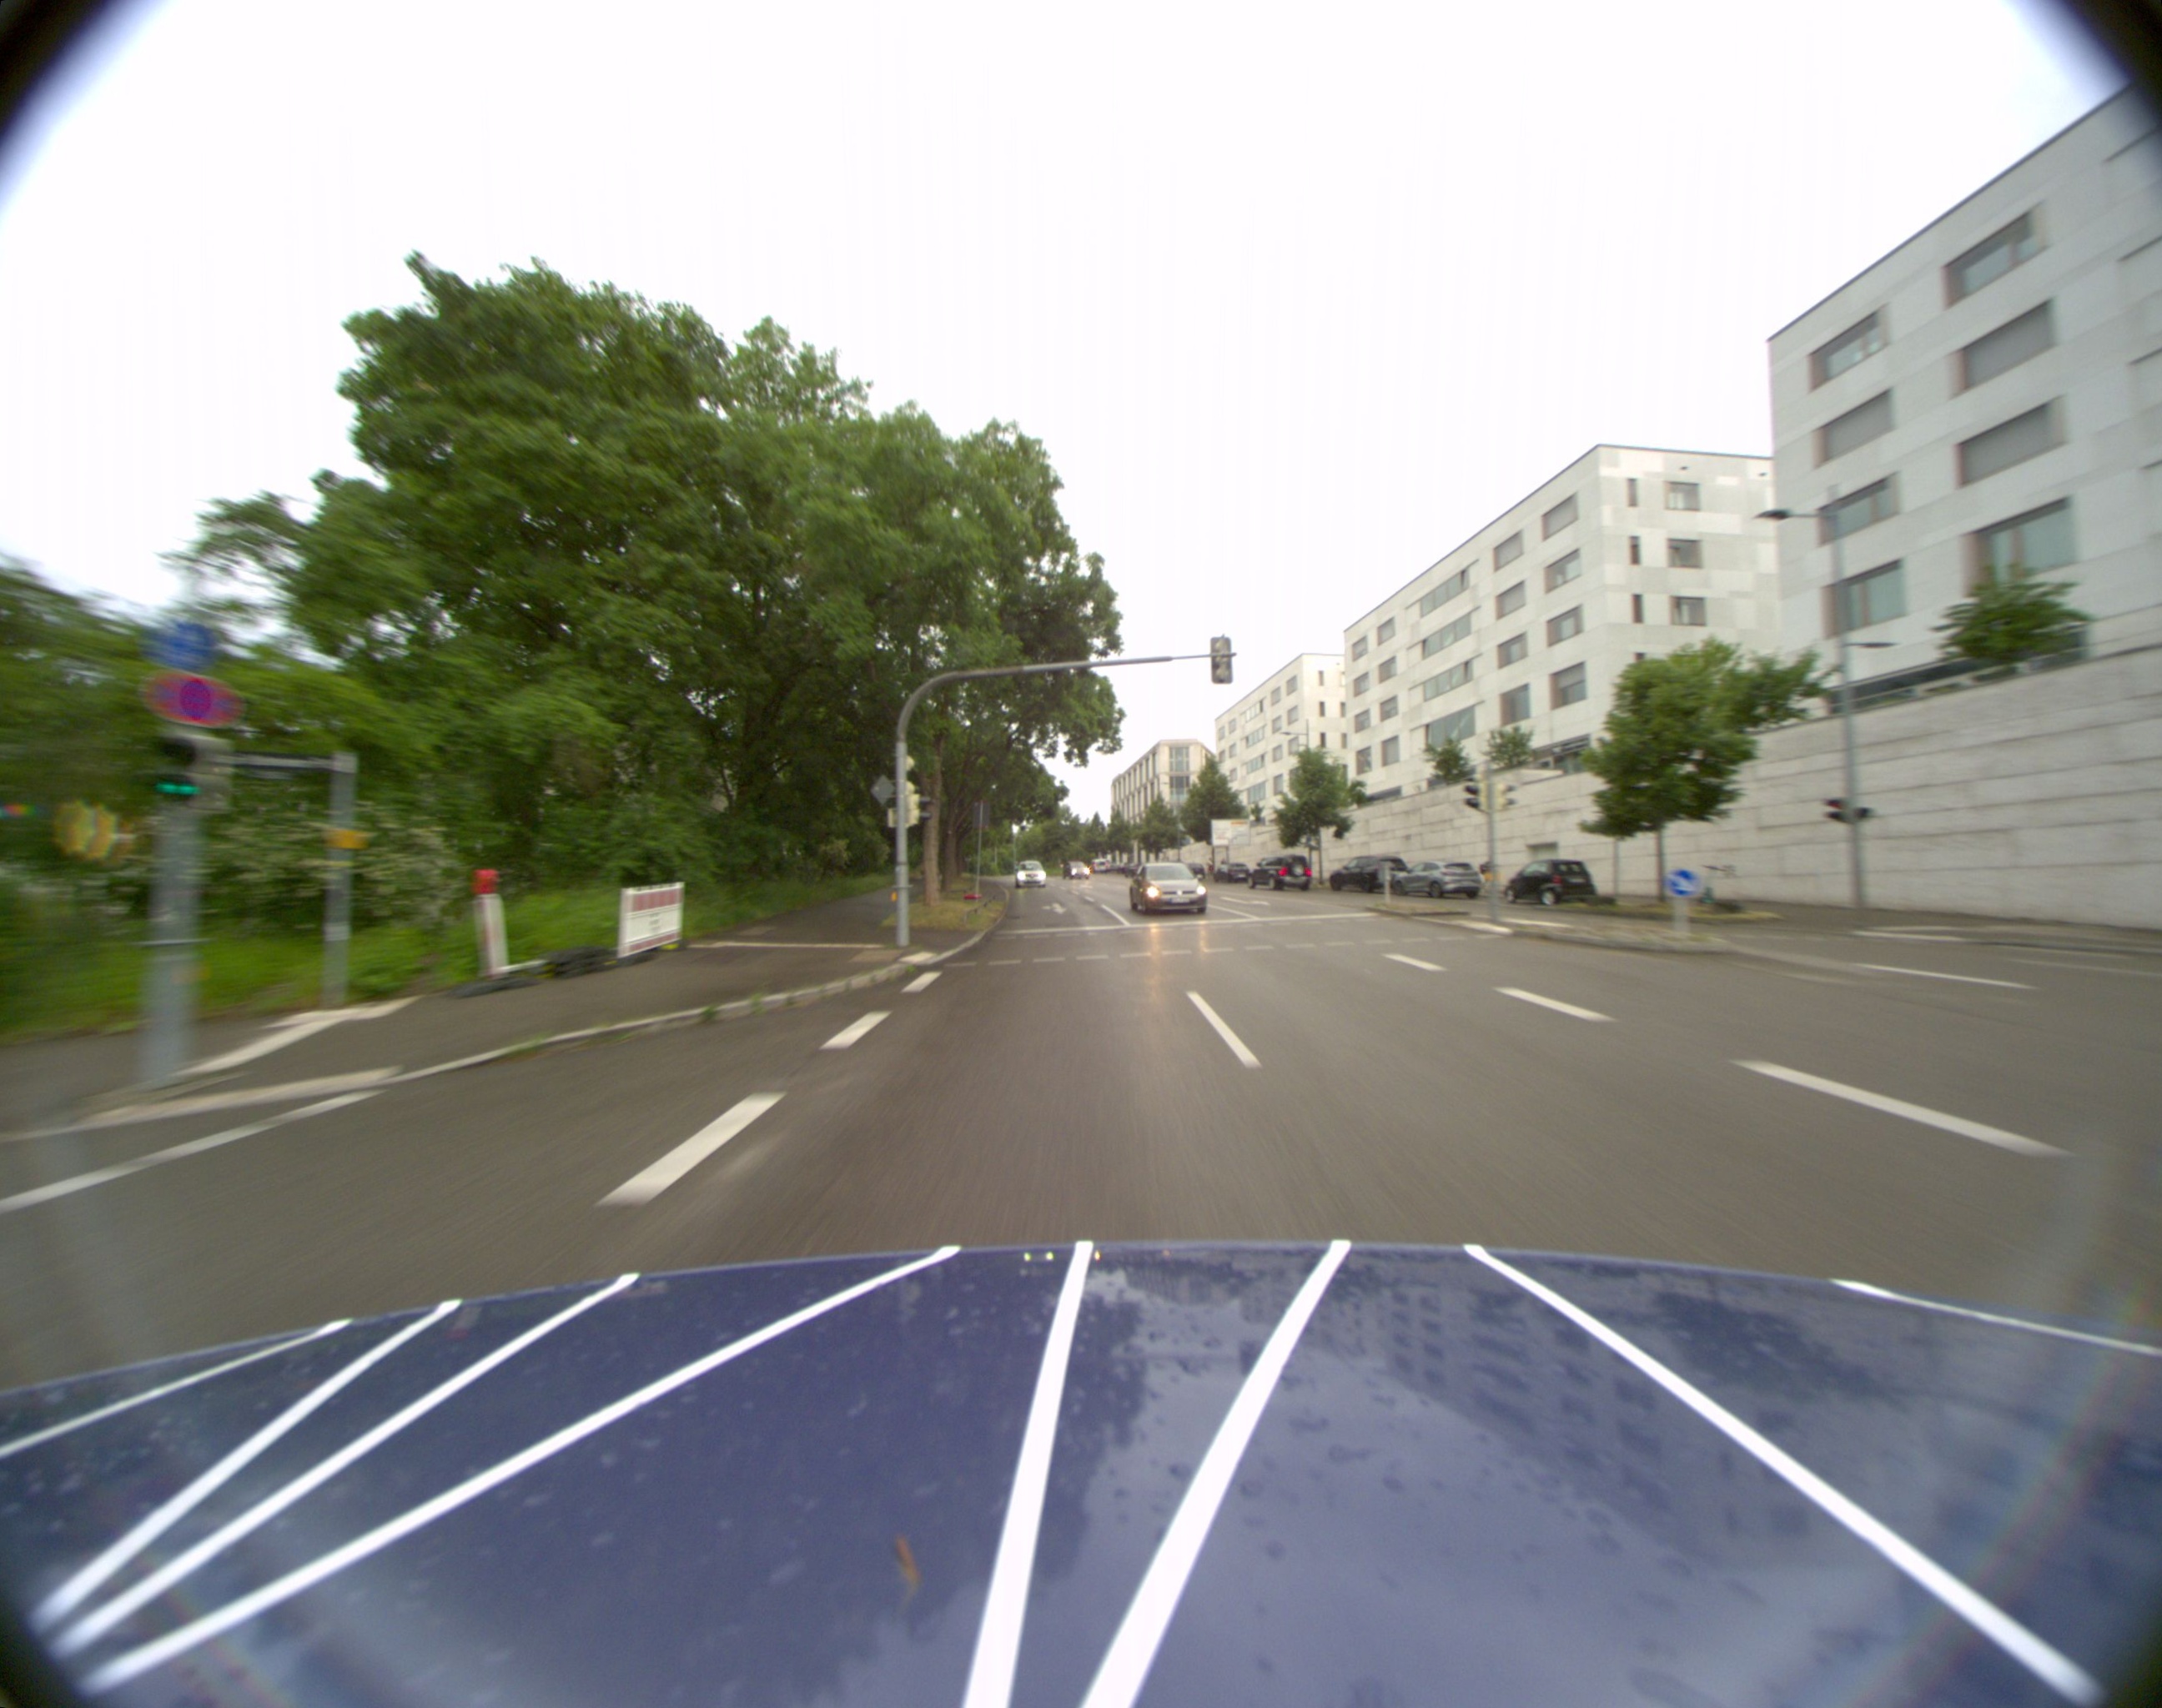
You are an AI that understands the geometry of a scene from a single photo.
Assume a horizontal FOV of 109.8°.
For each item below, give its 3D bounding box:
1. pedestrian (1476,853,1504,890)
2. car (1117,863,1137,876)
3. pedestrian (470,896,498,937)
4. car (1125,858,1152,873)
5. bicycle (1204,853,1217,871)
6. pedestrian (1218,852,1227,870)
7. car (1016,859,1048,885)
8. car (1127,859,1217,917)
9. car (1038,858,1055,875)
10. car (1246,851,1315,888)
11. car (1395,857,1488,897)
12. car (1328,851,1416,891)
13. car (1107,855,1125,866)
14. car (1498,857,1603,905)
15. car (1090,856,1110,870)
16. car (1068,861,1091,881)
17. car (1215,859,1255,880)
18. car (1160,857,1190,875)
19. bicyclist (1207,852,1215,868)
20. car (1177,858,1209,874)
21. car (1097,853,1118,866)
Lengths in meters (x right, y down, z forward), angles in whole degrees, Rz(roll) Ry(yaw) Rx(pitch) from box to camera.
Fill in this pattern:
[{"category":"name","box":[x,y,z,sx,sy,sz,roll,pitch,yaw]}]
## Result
[{"category":"pedestrian","box":[19.612,0.832,36.465,0.710,1.764,1.020,0,0,-8]},{"category":"car","box":[5.682,1.877,93.477,1.700,1.572,4.015,-1,0,-8]},{"category":"pedestrian","box":[-14.857,1.554,18.905,0.374,0.976,0.405,0,0,-4]},{"category":"car","box":[5.650,1.101,74.592,1.776,1.373,4.187,0,0,-8]},{"category":"bicycle","box":[12.558,0.738,73.679,0.745,1.647,1.878,-2,1,-8]},{"category":"pedestrian","box":[14.207,0.724,76.283,0.721,1.764,0.691,-1,-1,-9]},{"category":"car","box":[-3.015,1.113,46.061,1.646,1.511,3.578,-1,-2,-8]},{"category":"car","box":[2.576,0.932,22.491,1.905,1.431,3.999,-3,0,-3]},{"category":"car","box":[-4.255,1.508,93.177,1.999,2.002,3.999,-1,0,-4]},{"category":"car","box":[10.708,0.836,41.134,1.927,1.846,4.503,1,-1,-10]},{"category":"car","box":[14.775,0.904,31.384,1.684,1.506,3.708,-1,0,-8]},{"category":"car","box":[13.941,0.791,36.747,1.863,1.770,4.593,-1,0,-10]},{"category":"car","box":[4.732,0.932,104.391,1.700,1.376,3.696,-2,-1,-9]},{"category":"car","box":[16.079,0.892,26.177,1.513,1.506,2.978,-1,0,-7]},{"category":"car","box":[2.432,1.154,97.781,1.716,1.736,4.335,3,-1,-9]},{"category":"car","box":[-0.144,1.495,65.142,1.671,1.520,3.658,-2,-3,-4]},{"category":"car","box":[11.196,1.092,55.391,1.684,1.418,3.962,-1,0,-7]},{"category":"car","box":[8.914,1.146,72.261,1.708,1.611,4.359,0,0,-8]},{"category":"bicyclist","box":[12.572,0.603,73.439,0.578,1.509,0.768,0,2,-8]},{"category":"car","box":[9.755,1.067,66.536,1.700,1.352,4.160,0,-1,-7]},{"category":"car","box":[3.867,0.838,111.942,2.129,1.804,5.257,-1,-1,-9]}]
